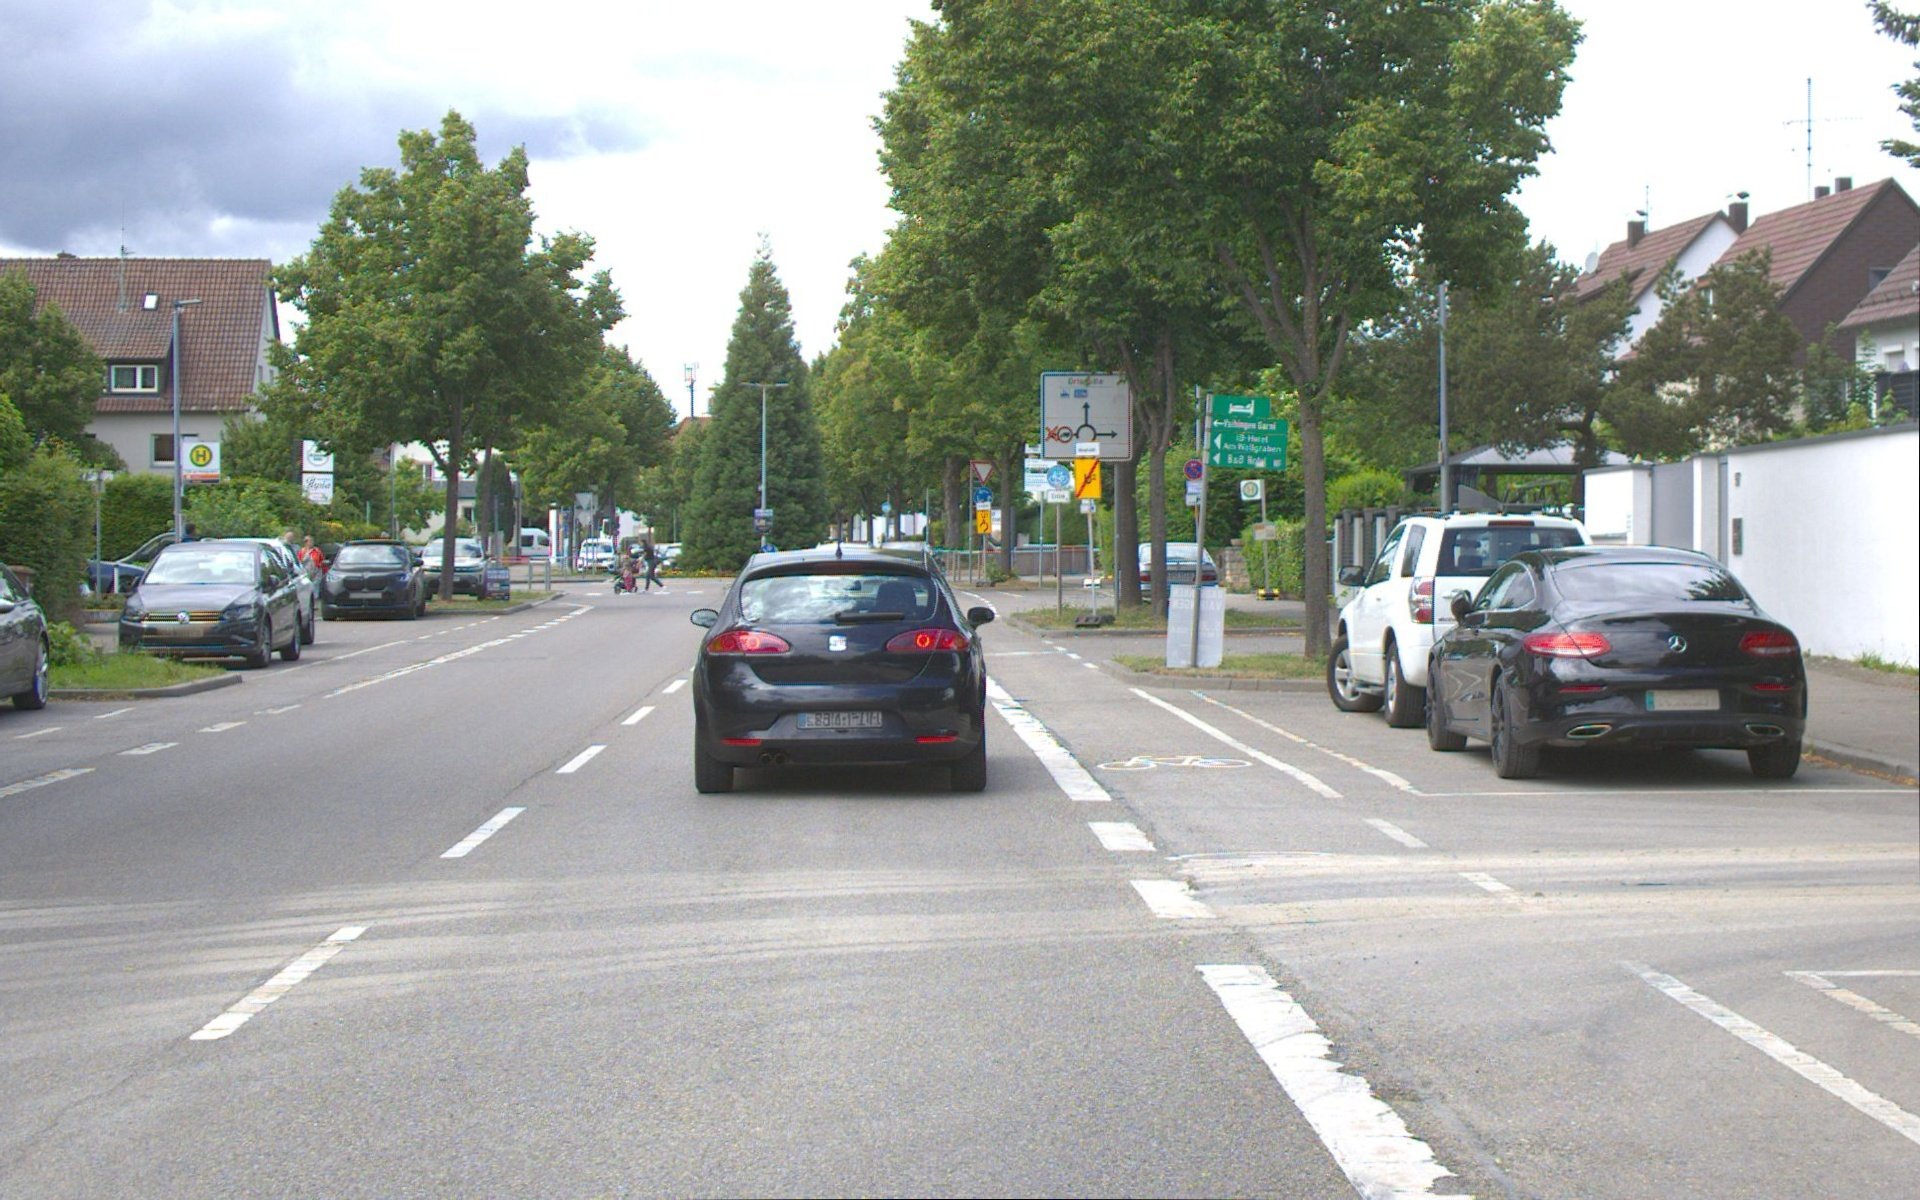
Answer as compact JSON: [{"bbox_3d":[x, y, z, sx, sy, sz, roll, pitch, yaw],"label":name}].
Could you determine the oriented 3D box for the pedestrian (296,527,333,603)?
[{"bbox_3d":[-14.171,-0.765,75.495,0.786,1.658,0.754,0,1,-9],"label":"pedestrian"}]

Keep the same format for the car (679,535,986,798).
[{"bbox_3d":[-0.718,0.342,21.551,1.732,1.481,4.000,1,1,0],"label":"car"}]

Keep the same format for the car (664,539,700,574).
[{"bbox_3d":[-13.302,-2.094,164.502,1.568,1.628,3.622,-1,1,-2],"label":"car"}]

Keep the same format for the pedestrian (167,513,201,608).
[{"bbox_3d":[-14.894,-0.756,65.967,0.503,1.800,0.671,0,1,-3],"label":"pedestrian"}]

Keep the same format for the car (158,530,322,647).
[{"bbox_3d":[-10.606,-0.208,50.914,1.820,1.628,4.587,-1,1,-5],"label":"car"}]

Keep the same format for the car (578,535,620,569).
[{"bbox_3d":[-17.448,-2.308,166.239,1.797,1.596,4.001,-1,1,-3],"label":"car"}]

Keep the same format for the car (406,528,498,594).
[{"bbox_3d":[-13.045,-1.027,88.447,1.860,1.648,4.295,0,1,-2],"label":"car"}]

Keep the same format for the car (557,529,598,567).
[{"bbox_3d":[-20.482,-2.797,184.134,2.029,1.964,4.001,-1,1,-5],"label":"car"}]

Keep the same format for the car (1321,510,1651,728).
[{"bbox_3d":[4.194,0.122,28.055,1.900,1.637,4.117,0,1,-2],"label":"car"}]

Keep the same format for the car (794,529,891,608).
[{"bbox_3d":[-2.451,-0.676,72.400,1.993,1.607,4.000,0,1,-1],"label":"car"}]

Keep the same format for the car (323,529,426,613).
[{"bbox_3d":[-12.307,-0.628,72.468,1.724,1.719,4.566,0,1,-4],"label":"car"}]

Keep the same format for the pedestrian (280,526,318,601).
[{"bbox_3d":[-14.670,-0.805,76.340,0.786,1.658,0.592,-1,1,-9],"label":"pedestrian"}]

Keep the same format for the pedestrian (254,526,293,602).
[{"bbox_3d":[-15.032,-0.797,75.261,0.786,1.658,0.882,-1,1,-9],"label":"pedestrian"}]

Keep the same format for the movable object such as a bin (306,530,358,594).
[{"bbox_3d":[-16.656,-1.004,91.239,1.205,1.645,0.998,2,0,-5],"label":"movable object such as a bin"}]

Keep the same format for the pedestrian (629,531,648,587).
[{"bbox_3d":[-9.707,-1.239,103.753,0.514,1.664,0.483,0,1,-11],"label":"pedestrian"}]

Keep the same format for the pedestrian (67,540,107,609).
[{"bbox_3d":[-16.733,-0.497,65.864,0.587,1.308,0.706,0,1,-1],"label":"pedestrian"}]

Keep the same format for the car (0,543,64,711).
[{"bbox_3d":[-9.556,0.242,31.096,1.993,1.480,4.891,-1,1,-5],"label":"car"}]

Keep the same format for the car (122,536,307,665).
[{"bbox_3d":[-9.393,-0.035,43.590,1.677,1.546,4.273,0,1,-4],"label":"car"}]

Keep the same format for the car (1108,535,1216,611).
[{"bbox_3d":[3.778,-0.486,64.856,1.611,1.372,4.387,0,0,-2],"label":"car"}]

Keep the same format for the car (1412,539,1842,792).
[{"bbox_3d":[4.116,0.336,21.952,1.863,1.412,4.603,0,1,0],"label":"car"}]

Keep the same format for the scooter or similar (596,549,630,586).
[{"bbox_3d":[-10.459,-0.980,103.559,0.966,1.092,0.407,2,0,-10],"label":"scooter or similar"}]
